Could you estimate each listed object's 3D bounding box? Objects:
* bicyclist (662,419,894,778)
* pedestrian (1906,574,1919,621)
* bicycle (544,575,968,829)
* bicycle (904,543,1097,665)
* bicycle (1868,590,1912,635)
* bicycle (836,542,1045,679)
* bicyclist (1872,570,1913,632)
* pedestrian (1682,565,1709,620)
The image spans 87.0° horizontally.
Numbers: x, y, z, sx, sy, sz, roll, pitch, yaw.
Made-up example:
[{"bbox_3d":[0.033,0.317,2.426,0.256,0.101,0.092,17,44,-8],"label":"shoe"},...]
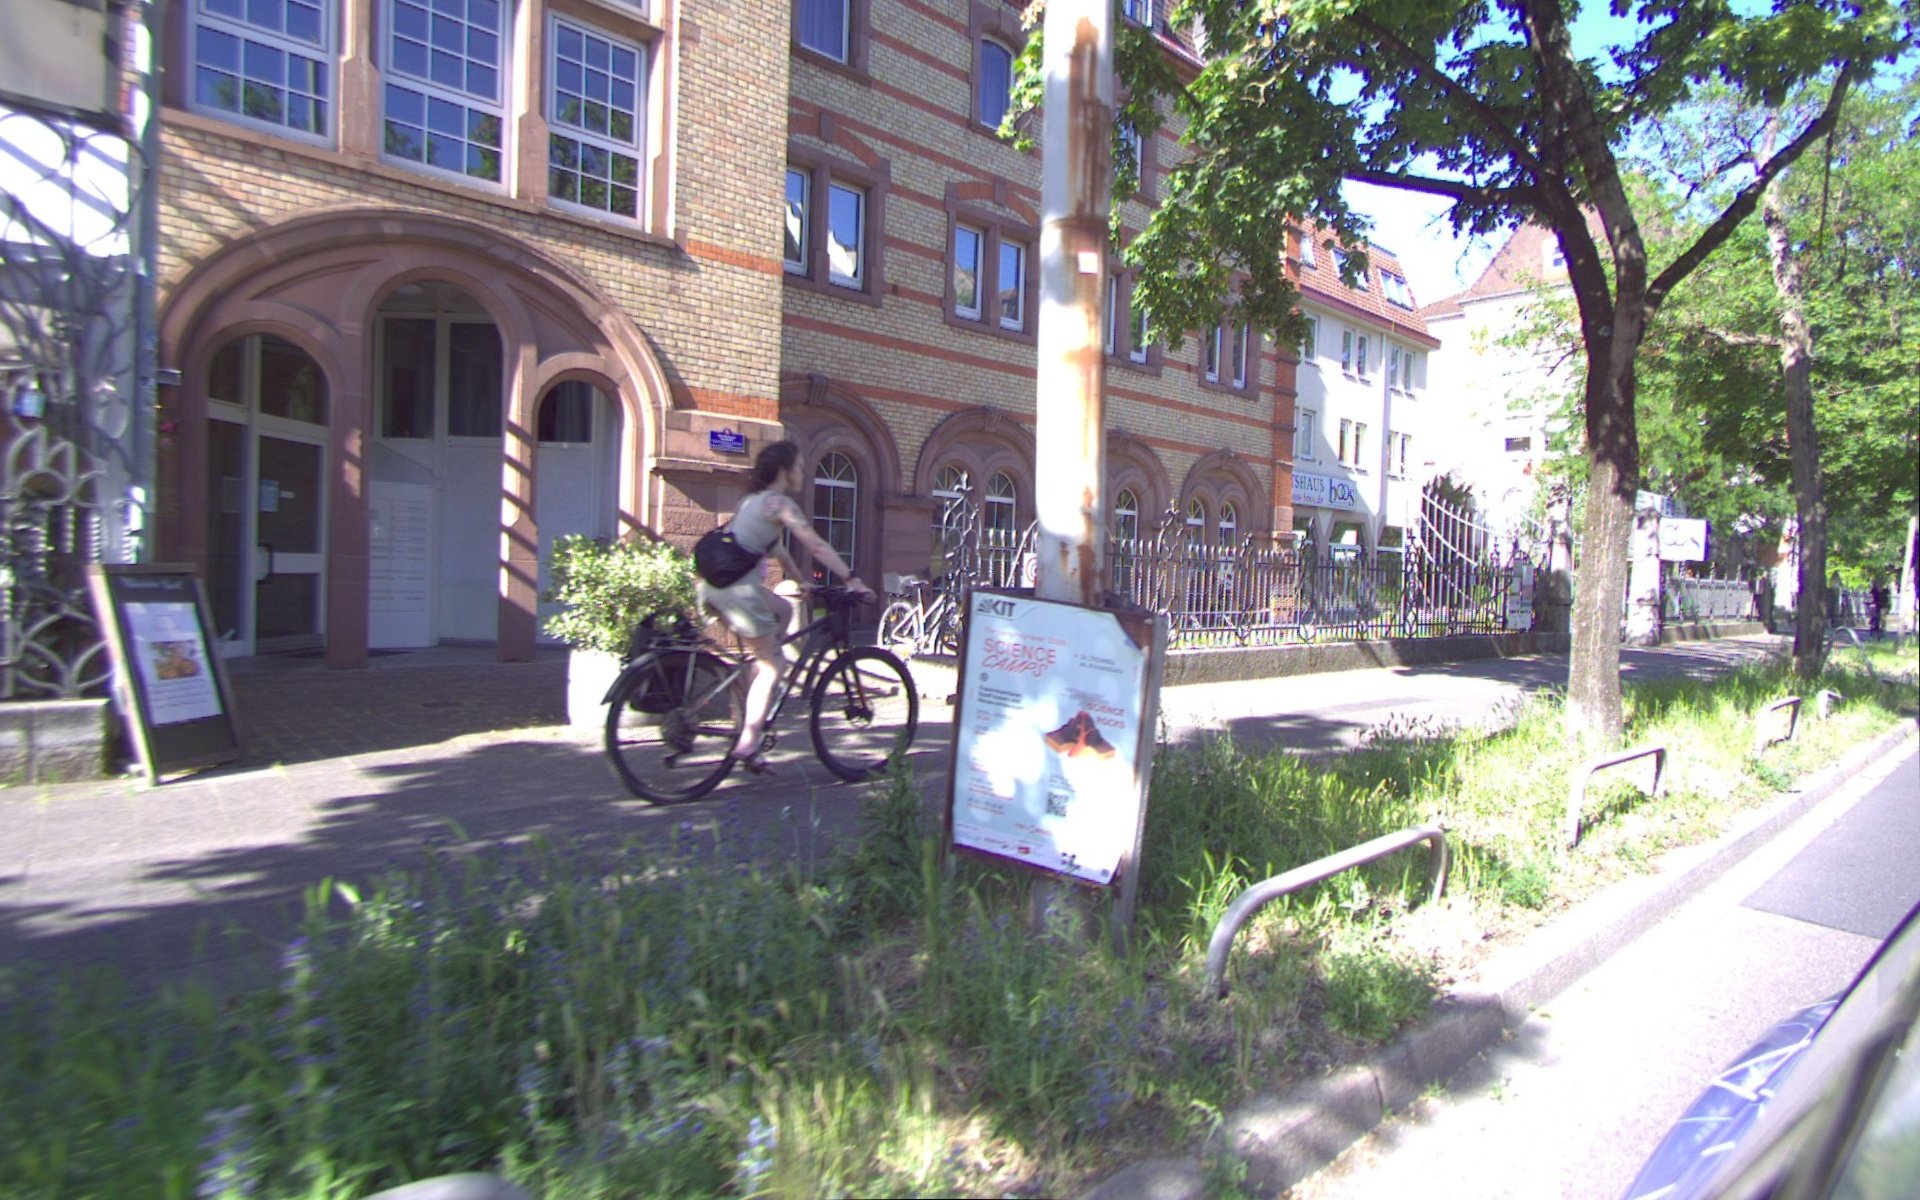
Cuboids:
[{"bbox_3d":[-0.918,-0.021,5.139,0.939,1.619,0.701,-1,2,-42],"label":"bicyclist"},{"bbox_3d":[37.763,-0.094,39.691,0.796,1.808,0.749,0,4,-41],"label":"pedestrian"},{"bbox_3d":[-0.944,0.400,5.143,2.060,1.040,0.686,-1,2,-42],"label":"bicycle"},{"bbox_3d":[0.385,-0.001,10.895,2.196,1.193,0.676,2,2,44],"label":"bicycle"},{"bbox_3d":[26.788,0.351,29.136,1.811,1.190,0.654,0,4,-41],"label":"bicycle"},{"bbox_3d":[-0.246,0.058,9.805,2.196,1.193,0.676,2,2,44],"label":"bicycle"},{"bbox_3d":[26.857,0.026,29.159,0.873,1.715,0.647,1,4,-41],"label":"bicyclist"},{"bbox_3d":[24.223,-0.258,33.329,0.527,1.800,0.539,3,2,23],"label":"pedestrian"}]
